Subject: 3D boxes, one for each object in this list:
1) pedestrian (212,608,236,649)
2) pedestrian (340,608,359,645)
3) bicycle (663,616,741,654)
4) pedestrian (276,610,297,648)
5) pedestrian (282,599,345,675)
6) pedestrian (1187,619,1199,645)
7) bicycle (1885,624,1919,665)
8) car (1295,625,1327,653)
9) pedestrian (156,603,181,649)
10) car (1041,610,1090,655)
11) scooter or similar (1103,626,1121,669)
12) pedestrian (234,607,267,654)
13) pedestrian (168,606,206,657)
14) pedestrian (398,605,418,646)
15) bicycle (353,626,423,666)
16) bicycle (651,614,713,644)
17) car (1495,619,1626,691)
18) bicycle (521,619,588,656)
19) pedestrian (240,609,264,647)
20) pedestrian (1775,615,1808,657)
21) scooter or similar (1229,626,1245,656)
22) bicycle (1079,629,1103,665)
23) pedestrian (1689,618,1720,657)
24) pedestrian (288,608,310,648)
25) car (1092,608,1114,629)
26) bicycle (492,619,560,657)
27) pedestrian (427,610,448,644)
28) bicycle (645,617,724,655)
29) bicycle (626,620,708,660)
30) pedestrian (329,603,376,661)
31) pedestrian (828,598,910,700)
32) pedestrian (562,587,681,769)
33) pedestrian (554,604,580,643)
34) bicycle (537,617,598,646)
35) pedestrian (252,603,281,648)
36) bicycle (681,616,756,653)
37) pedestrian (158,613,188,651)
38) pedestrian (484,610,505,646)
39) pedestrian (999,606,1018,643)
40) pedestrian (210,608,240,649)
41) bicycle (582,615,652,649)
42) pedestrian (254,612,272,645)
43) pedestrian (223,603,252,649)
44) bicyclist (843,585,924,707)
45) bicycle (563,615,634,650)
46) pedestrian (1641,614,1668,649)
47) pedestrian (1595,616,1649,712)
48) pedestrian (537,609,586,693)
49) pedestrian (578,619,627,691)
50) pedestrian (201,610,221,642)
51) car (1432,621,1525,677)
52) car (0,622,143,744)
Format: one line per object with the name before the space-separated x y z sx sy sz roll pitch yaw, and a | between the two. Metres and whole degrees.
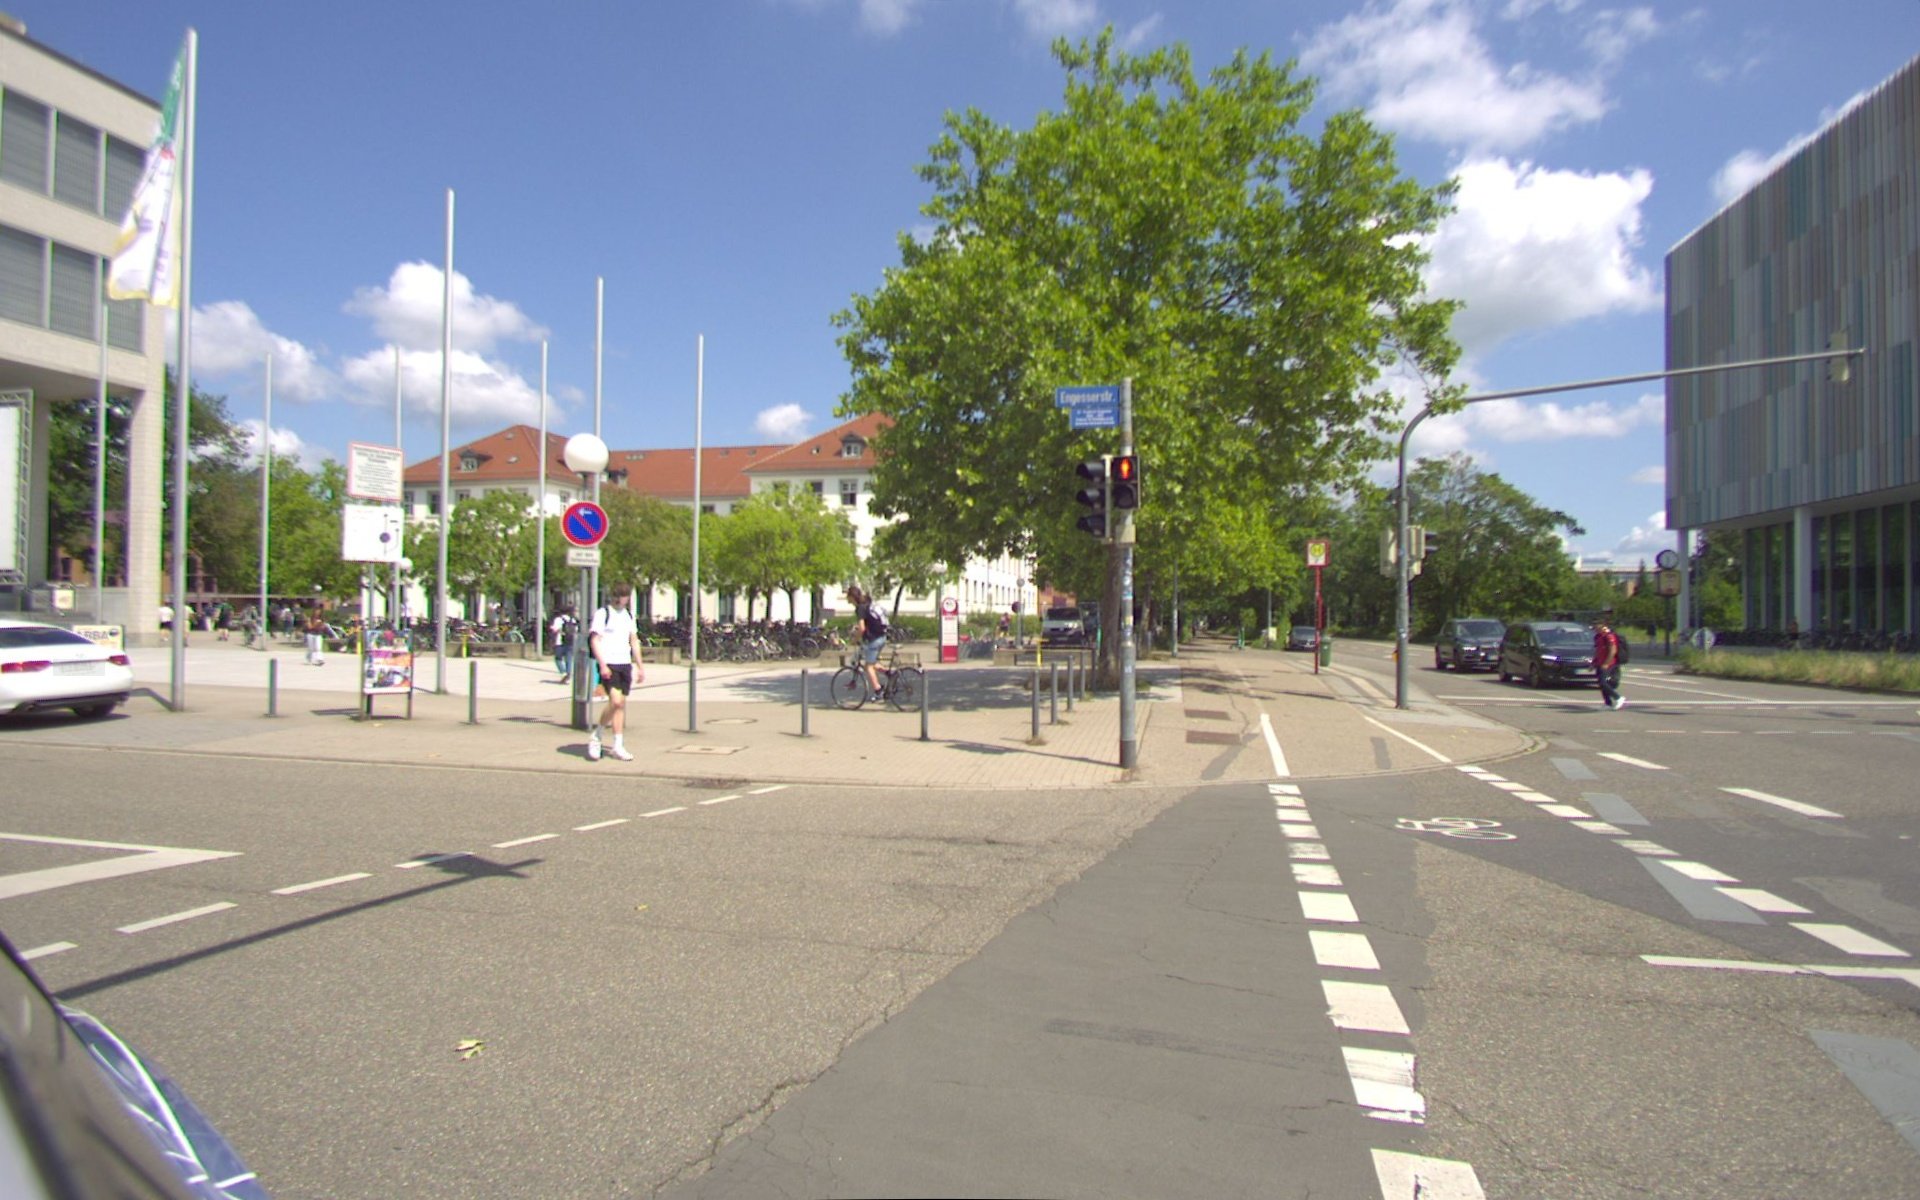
pedestrian | -35.819 1.375 49.266 0.876 2.000 0.840 1 -1 -41
pedestrian | -36.576 1.572 60.640 0.875 2.159 0.739 1 -1 -20
bicycle | -10.282 1.381 40.312 2.930 1.422 1.058 0 -1 21
pedestrian | -35.863 1.542 53.869 0.748 2.029 0.739 1 -1 -20
pedestrian | -17.786 1.011 27.871 0.977 2.029 1.056 0 -1 10
pedestrian | 15.765 2.170 68.545 0.797 1.741 0.805 0 -2 12
bicycle | 45.033 2.072 47.007 2.924 1.852 0.957 0 -1 16
car | 19.613 2.181 56.567 1.627 1.497 3.975 0 -2 19
pedestrian | -37.189 1.219 47.568 0.876 2.119 0.738 1 -1 -41
car | 4.848 1.454 46.058 1.846 1.954 4.760 0 -2 11
scooter or similar | 4.377 1.344 29.147 0.488 1.205 1.730 0 -1 8
pedestrian | -26.825 1.144 38.267 0.747 1.770 0.740 1 -1 -10
pedestrian | -27.469 1.121 35.970 0.750 1.770 0.737 0 -1 4
pedestrian | -27.092 1.244 49.658 0.748 2.029 0.739 1 -1 -20
bicycle | -18.448 1.479 32.645 2.074 1.225 0.648 0 -1 14
bicycle | -13.857 1.440 50.417 2.930 1.422 1.058 0 -1 21
car | 15.100 1.328 25.703 1.637 1.673 4.276 0 -2 14
bicycle | -16.554 1.514 41.288 2.944 1.422 1.134 0 -1 35
pedestrian | -38.553 1.533 55.135 0.875 2.029 0.739 1 -1 -20
pedestrian | 44.413 1.916 54.047 1.004 2.218 0.972 0 -1 13
scooter or similar | 15.016 2.198 54.920 0.725 1.550 2.641 0 -2 14
bicycle | 4.429 1.561 34.129 0.658 1.122 2.608 0 -1 11
pedestrian | 42.819 2.127 58.221 1.117 2.193 0.972 0 -1 13
pedestrian | -30.751 1.286 47.117 0.748 1.851 0.702 1 -1 -26
car | 13.613 1.818 96.296 1.846 1.954 4.385 0 -2 11
bicycle | -17.274 1.501 40.259 2.944 1.422 1.134 0 -1 35
pedestrian | -31.503 1.630 60.982 0.736 2.029 0.878 0 -1 39
bicycle | -10.680 1.370 39.258 2.930 1.422 1.058 0 -1 21
bicycle | -11.056 1.471 38.148 2.930 1.422 1.058 0 -1 21
pedestrian | -20.649 1.085 34.393 0.934 1.955 0.985 0 -1 10
pedestrian | -1.720 0.921 19.124 1.389 1.869 0.699 -1 -2 23
pedestrian | -3.667 0.799 10.959 1.086 1.865 0.713 0 0 35
pedestrian | -22.643 1.349 58.322 1.030 2.217 1.020 0 -2 11
bicycle | -19.933 1.573 51.392 2.930 1.422 1.140 0 -1 21
pedestrian | -31.560 1.154 46.062 0.730 2.029 0.756 0 -1 18
bicycle | -9.882 1.393 41.368 2.930 1.422 1.058 0 -1 21
pedestrian | -33.951 1.373 43.683 0.730 1.626 0.729 0 -1 16
pedestrian | -28.443 1.701 61.870 0.948 2.217 0.973 0 -2 -10
pedestrian | 2.918 1.466 60.603 1.029 2.217 1.156 0 -2 10
pedestrian | -32.273 1.254 44.419 0.731 1.787 0.756 0 -1 15
bicycle | -14.902 1.379 43.975 2.933 1.422 1.057 0 -1 24
pedestrian | -39.731 1.610 57.701 0.697 1.899 0.739 1 -1 -20
pedestrian | -32.414 1.142 45.429 0.730 2.029 0.756 0 -1 18
bicyclist | -1.187 0.695 15.769 0.992 1.831 0.786 -1 0 22
bicycle | -15.324 1.367 42.930 2.933 1.422 1.057 0 -1 24
pedestrian | 43.832 1.981 63.896 1.117 2.193 0.972 0 -1 13
pedestrian | 11.991 1.137 18.335 0.754 1.691 0.746 -1 -2 37
pedestrian | -9.084 1.152 23.075 0.763 1.873 0.718 0 -1 15
pedestrian | -8.406 1.276 23.819 0.739 1.664 0.842 0 -1 14
pedestrian | -45.401 1.576 61.350 0.803 1.948 0.739 1 -1 -20
car | 16.971 1.562 33.346 1.637 1.673 4.804 0 -2 14
car | -13.657 1.028 13.643 4.616 1.406 1.675 0 1 14
